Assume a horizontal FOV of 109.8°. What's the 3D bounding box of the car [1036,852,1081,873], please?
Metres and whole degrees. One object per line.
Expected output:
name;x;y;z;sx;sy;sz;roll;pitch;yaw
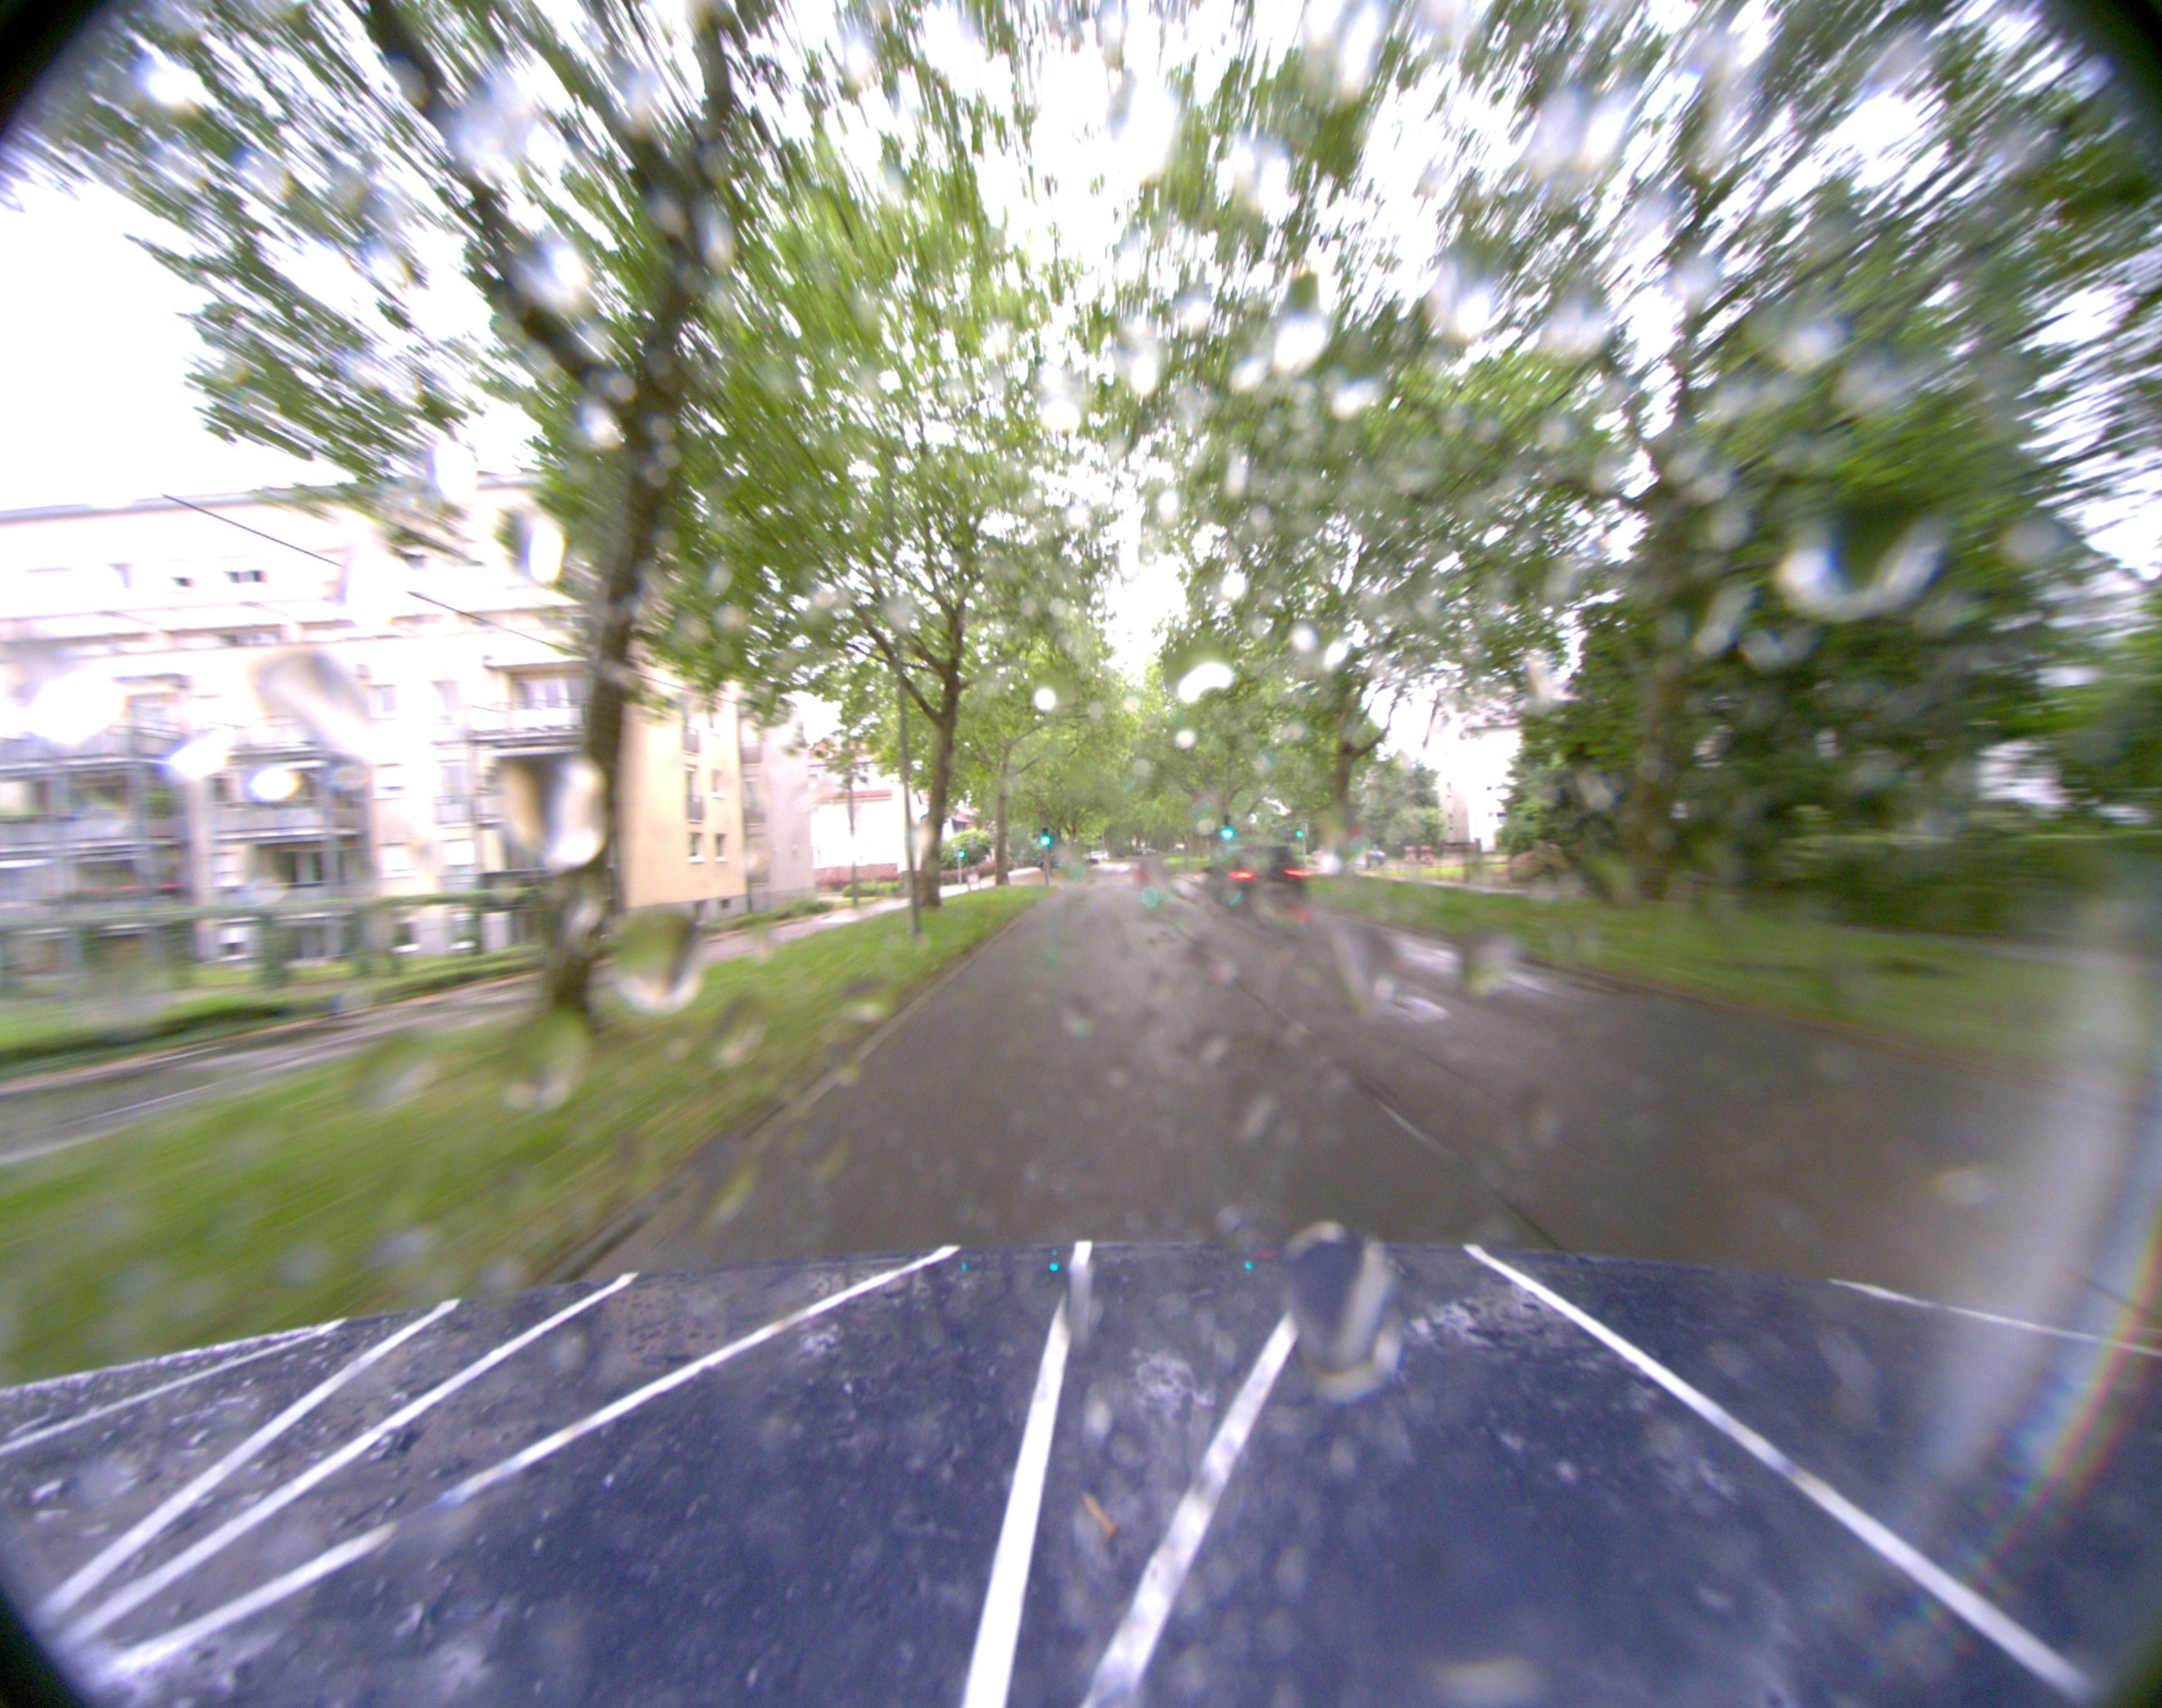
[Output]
car;-2.189;0.850;74.938;4.262;1.845;1.892;-3;1;0

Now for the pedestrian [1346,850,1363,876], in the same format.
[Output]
pedestrian;13.423;0.439;37.317;0.517;1.254;0.849;-3;1;2

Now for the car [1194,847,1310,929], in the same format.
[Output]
car;3.929;0.699;18.260;1.822;1.645;4.774;-3;0;2

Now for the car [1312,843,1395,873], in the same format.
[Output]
car;17.455;0.248;48.909;4.713;1.677;2.002;-3;0;13

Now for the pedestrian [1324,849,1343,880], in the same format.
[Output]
pedestrian;12.383;0.513;37.335;0.599;1.445;0.857;-3;1;2
